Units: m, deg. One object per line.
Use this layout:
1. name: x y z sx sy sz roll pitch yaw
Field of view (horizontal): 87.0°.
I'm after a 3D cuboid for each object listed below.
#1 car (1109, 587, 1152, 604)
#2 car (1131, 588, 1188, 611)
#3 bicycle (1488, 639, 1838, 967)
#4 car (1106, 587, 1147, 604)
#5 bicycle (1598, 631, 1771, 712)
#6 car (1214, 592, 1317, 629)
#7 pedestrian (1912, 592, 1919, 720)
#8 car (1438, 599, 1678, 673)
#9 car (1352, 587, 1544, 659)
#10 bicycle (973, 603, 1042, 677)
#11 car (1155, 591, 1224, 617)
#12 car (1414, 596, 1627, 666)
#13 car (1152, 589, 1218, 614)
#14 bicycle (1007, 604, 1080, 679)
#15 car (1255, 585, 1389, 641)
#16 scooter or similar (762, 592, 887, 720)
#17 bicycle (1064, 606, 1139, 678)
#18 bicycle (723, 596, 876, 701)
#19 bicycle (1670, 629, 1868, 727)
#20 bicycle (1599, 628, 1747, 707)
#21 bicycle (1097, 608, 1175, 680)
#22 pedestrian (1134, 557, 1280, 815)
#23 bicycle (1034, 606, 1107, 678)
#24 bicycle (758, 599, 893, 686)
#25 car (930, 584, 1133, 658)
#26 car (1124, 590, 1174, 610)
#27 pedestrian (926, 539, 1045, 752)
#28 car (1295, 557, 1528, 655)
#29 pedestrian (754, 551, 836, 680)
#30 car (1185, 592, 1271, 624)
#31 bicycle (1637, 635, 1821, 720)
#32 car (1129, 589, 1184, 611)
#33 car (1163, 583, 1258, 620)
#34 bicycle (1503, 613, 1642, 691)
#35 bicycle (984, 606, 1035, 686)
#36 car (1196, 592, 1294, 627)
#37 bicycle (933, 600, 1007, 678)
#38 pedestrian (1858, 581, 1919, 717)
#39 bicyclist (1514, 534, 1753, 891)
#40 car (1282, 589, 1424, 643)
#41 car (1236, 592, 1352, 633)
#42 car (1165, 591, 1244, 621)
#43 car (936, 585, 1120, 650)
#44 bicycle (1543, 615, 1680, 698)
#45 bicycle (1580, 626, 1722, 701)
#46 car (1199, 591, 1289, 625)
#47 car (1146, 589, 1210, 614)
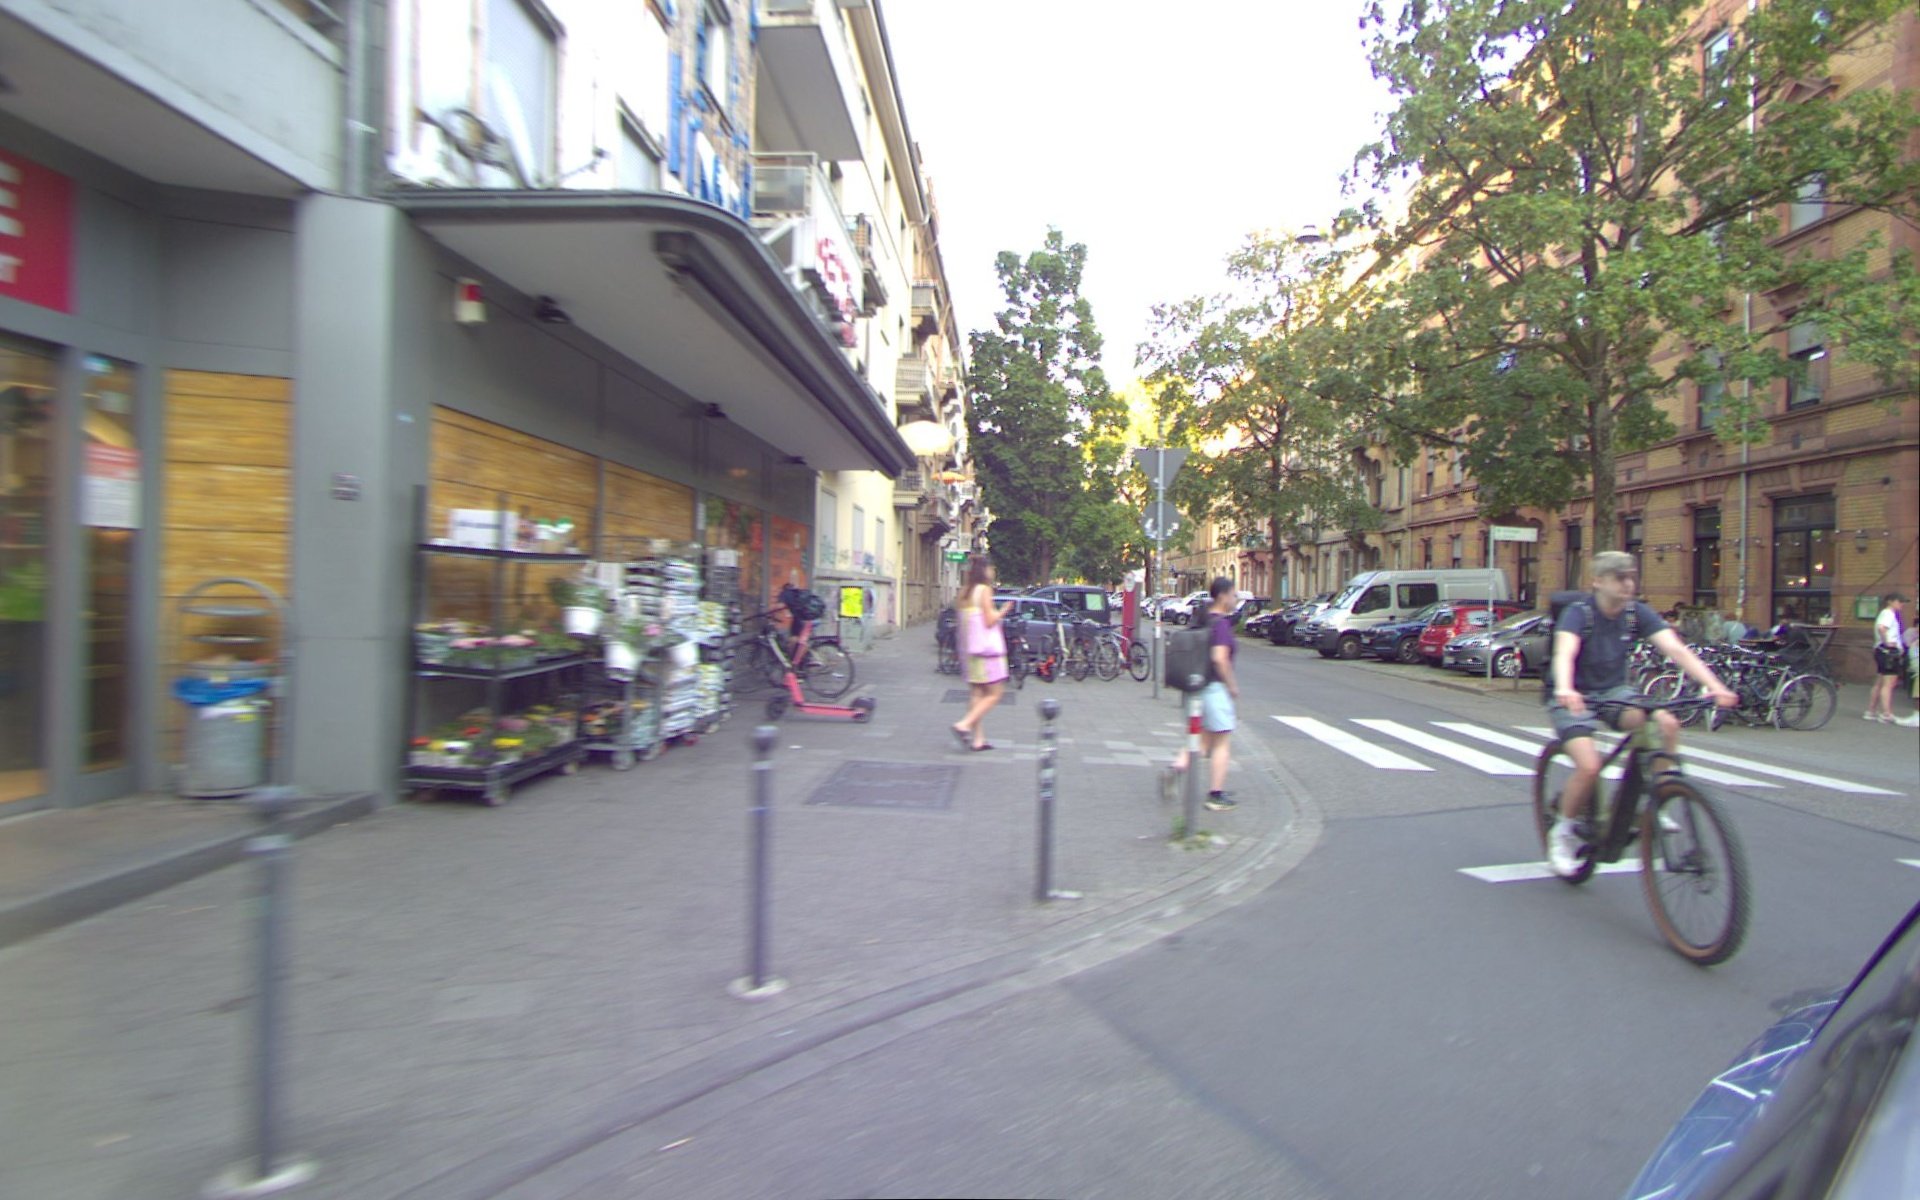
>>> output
1. car: 16.504 -0.443 97.920 3.838 1.650 1.792 0 0 1
2. car: 14.692 -0.033 74.603 3.838 1.618 1.792 0 0 1
3. bicycle: 3.280 0.806 5.026 0.784 1.154 2.328 1 -1 18
4. car: 16.573 -0.471 100.849 3.838 1.650 1.792 0 0 1
5. bicycle: 10.191 0.994 14.291 1.851 1.071 0.711 0 0 6
6. car: 13.291 0.425 44.132 3.899 1.556 1.852 0 0 -2
7. pedestrian: 12.706 0.733 12.856 0.631 1.658 0.671 0 0 16
8. car: 12.159 0.717 20.765 3.904 1.438 1.626 0 0 4
9. car: 12.135 0.554 25.350 3.904 1.683 1.762 -1 0 4
10. bicycle: 0.766 0.638 16.848 0.558 1.095 1.788 2 1 -16
11. car: 14.047 0.235 62.143 3.838 1.553 1.792 0 0 1
12. car: 12.732 0.680 23.172 3.904 1.521 1.626 0 0 4
13. car: 14.432 0.094 64.958 3.838 1.553 1.792 0 0 1
14. bicycle: 1.372 0.668 16.973 0.558 1.095 1.788 2 1 -16
15. car: 12.331 0.438 34.665 3.904 1.847 1.849 0 0 4
16. scooter or similar: -1.384 0.568 10.409 1.207 1.248 0.416 2 0 -5
17. bicycle: 2.427 0.703 17.542 0.558 1.095 1.788 2 1 -16
18. bicycle: -1.984 0.565 12.499 1.762 1.140 0.606 3 1 20
19. bicycle: 10.206 0.968 12.827 1.851 1.169 0.711 0 0 6
20. bicycle: 10.638 0.983 15.121 1.845 1.091 0.714 0 0 -10
21. bicycle: 3.049 0.746 17.711 0.558 1.095 1.788 2 1 -16
22. pedestrian: 1.663 0.546 6.858 0.855 1.627 0.537 3 1 14
23. bicycle: 1.862 0.693 17.363 0.558 1.095 1.788 2 1 -16
24. bicycle: -1.857 0.562 13.984 1.762 1.069 0.566 3 1 20
25. car: 1.639 0.405 22.692 4.365 1.506 1.793 -1 0 -34
26. car: 15.815 0.004 84.878 3.838 1.585 1.792 0 0 1
27. pedestrian: 0.225 0.371 8.898 0.700 1.767 0.692 2 1 -43
28. car: 12.327 0.142 27.930 5.386 2.487 2.120 -1 0 2
29. pedestrian: -2.308 0.202 14.133 0.843 1.737 0.769 2 1 -32
30. car: 13.468 0.391 50.969 3.794 1.556 1.734 0 0 -2
31. bicycle: 10.245 1.013 13.537 1.851 1.065 0.711 0 0 6
32. car: 14.838 -0.007 76.623 3.838 1.650 1.792 0 0 1
33. car: 14.084 0.058 57.033 4.757 2.037 2.203 0 0 0
34. bicycle: 10.324 0.854 17.113 1.855 1.255 0.710 0 0 12
35. bicycle: 0.740 0.672 15.547 0.559 1.096 1.785 2 1 -3
36. car: 13.014 0.406 46.342 3.899 1.556 1.852 0 0 -2
37. bicycle: 0.140 0.603 16.461 0.669 1.125 1.788 2 1 -16
38. pedestrian: 12.653 0.635 13.616 0.628 1.767 0.675 0 0 -30
39. bicyclist: 3.289 0.498 5.033 0.784 1.592 0.821 1 -1 19
40. car: 12.645 0.497 32.765 3.904 1.683 1.762 0 0 4
41. car: 13.047 0.469 39.695 3.899 1.556 1.852 0 0 -2
42. car: 13.063 0.331 54.180 3.794 1.556 1.734 0 0 -2
43. car: 1.744 0.378 25.492 4.365 1.506 1.951 -1 0 -34
44. bicycle: 10.438 0.882 16.242 1.845 1.255 0.714 0 0 -10
45. bicycle: 10.709 0.968 15.706 1.845 1.091 0.714 0 0 -10
46. car: 13.650 0.379 48.814 3.794 1.556 1.734 0 0 -2
47. car: 14.405 0.097 67.095 3.838 1.568 1.792 0 0 1
